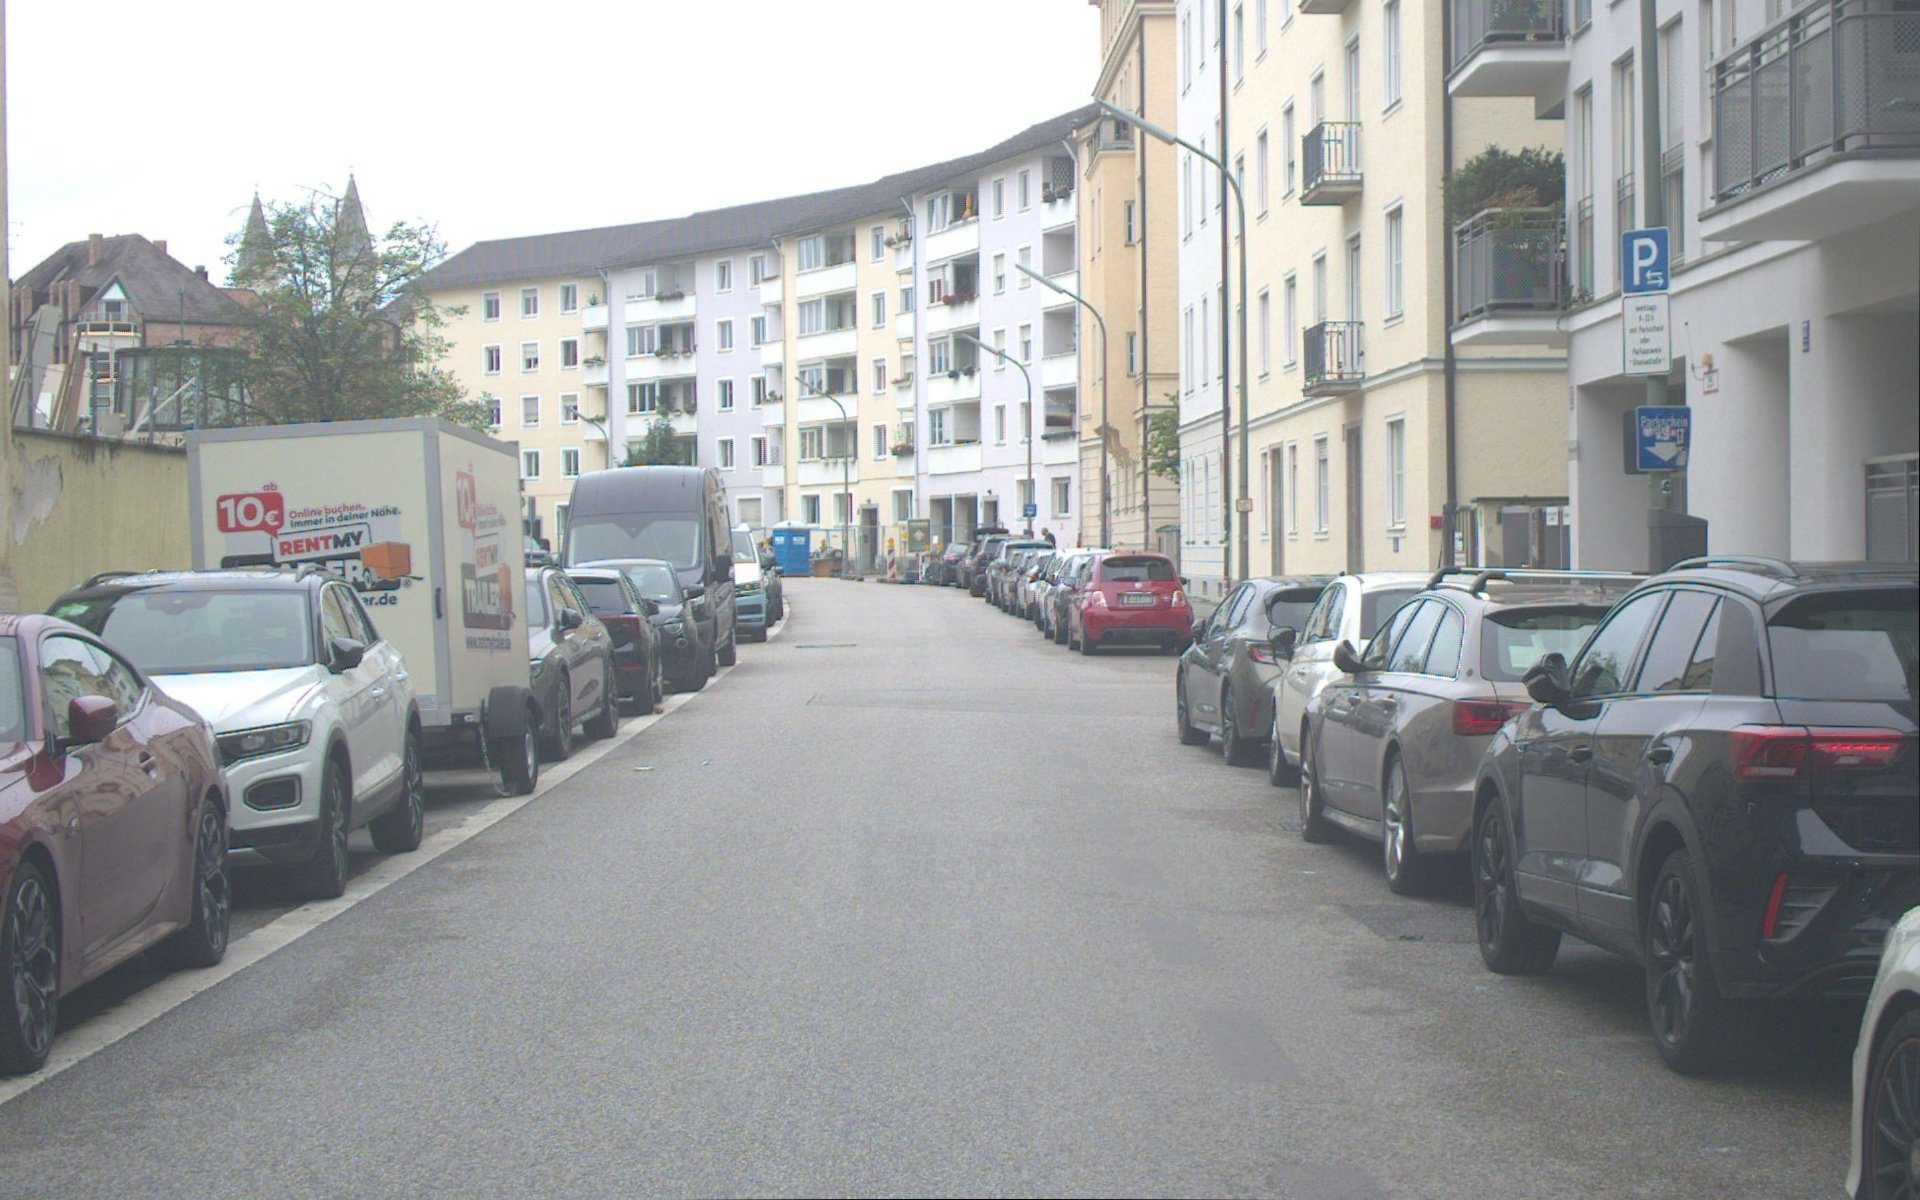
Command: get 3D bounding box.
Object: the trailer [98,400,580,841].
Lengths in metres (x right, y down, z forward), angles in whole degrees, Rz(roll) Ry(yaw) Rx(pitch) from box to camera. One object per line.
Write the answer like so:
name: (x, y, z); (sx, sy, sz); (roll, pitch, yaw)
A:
trailer: (-3.869, 0.083, 22.283); (1.976, 2.463, 4.576); (-3, 1, 3)

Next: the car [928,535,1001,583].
car: (0.128, -1.369, 113.349); (1.908, 1.472, 4.947); (1, 1, -6)

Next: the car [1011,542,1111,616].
car: (2.090, -0.460, 71.838); (1.724, 1.445, 4.188); (1, 1, -3)

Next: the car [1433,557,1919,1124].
car: (2.834, 0.651, 11.501); (1.837, 1.527, 4.022); (1, 1, -1)

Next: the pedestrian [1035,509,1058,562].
pedestrian: (2.805, -2.089, 111.776); (0.617, 1.684, 0.919); (-3, 1, -2)

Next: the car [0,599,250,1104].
car: (-3.692, 0.752, 11.576); (1.745, 1.363, 4.403); (-1, 1, -1)

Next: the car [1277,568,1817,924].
car: (2.738, 0.610, 17.093); (1.791, 1.477, 4.604); (0, 1, -1)

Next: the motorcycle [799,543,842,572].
motorcycle: (-5.915, -1.806, 145.500); (0.931, 1.217, 2.507); (0, 1, -26)

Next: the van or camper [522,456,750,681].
van or camper: (-4.106, -0.443, 44.515); (2.293, 2.642, 5.561); (-2, 1, 0)

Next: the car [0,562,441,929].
car: (-3.722, 0.622, 17.167); (1.679, 1.525, 4.107); (-1, 1, -1)

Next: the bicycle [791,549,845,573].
bicycle: (-6.329, -1.763, 153.615); (2.232, 1.066, 0.920); (0, 1, -25)

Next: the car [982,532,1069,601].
car: (1.628, -0.875, 86.634); (1.846, 1.658, 4.499); (1, 1, -3)

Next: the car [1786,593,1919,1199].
car: (2.769, 0.772, 5.377); (1.664, 1.462, 4.377); (1, 1, -3)

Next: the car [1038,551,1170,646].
car: (2.307, -0.052, 56.018); (1.773, 1.425, 4.616); (1, 1, -2)

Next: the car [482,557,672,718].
car: (-3.827, 0.329, 34.894); (1.675, 1.431, 4.287); (-2, 1, -4)

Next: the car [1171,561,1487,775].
car: (2.771, 0.463, 26.714); (1.771, 1.470, 4.218); (0, 1, -3)

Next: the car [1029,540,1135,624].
car: (2.329, -0.371, 66.518); (1.650, 1.538, 3.994); (1, 1, -4)

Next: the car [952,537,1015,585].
car: (0.713, -1.224, 107.094); (1.630, 1.412, 3.680); (1, 1, -5)

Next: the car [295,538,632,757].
car: (-3.917, 0.306, 27.987); (1.863, 1.536, 5.091); (-2, 1, 1)

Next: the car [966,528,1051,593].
car: (1.346, -1.136, 96.893); (2.169, 1.733, 5.024); (1, 1, -1)

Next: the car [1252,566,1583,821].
car: (2.914, 0.548, 22.594); (1.617, 1.462, 3.747); (1, 1, -1)

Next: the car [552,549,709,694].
car: (-3.742, 0.204, 39.495); (1.652, 1.492, 3.910); (-2, 1, -4)

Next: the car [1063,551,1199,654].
car: (2.500, 0.009, 51.042); (1.654, 1.425, 3.756); (1, 1, -2)

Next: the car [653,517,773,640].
car: (-4.162, -0.404, 57.543); (1.914, 1.953, 4.962); (0, 1, -5)

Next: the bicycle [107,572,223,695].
bicycle: (-8.246, 0.330, 35.728); (0.802, 1.229, 1.868); (-1, 0, -1)
